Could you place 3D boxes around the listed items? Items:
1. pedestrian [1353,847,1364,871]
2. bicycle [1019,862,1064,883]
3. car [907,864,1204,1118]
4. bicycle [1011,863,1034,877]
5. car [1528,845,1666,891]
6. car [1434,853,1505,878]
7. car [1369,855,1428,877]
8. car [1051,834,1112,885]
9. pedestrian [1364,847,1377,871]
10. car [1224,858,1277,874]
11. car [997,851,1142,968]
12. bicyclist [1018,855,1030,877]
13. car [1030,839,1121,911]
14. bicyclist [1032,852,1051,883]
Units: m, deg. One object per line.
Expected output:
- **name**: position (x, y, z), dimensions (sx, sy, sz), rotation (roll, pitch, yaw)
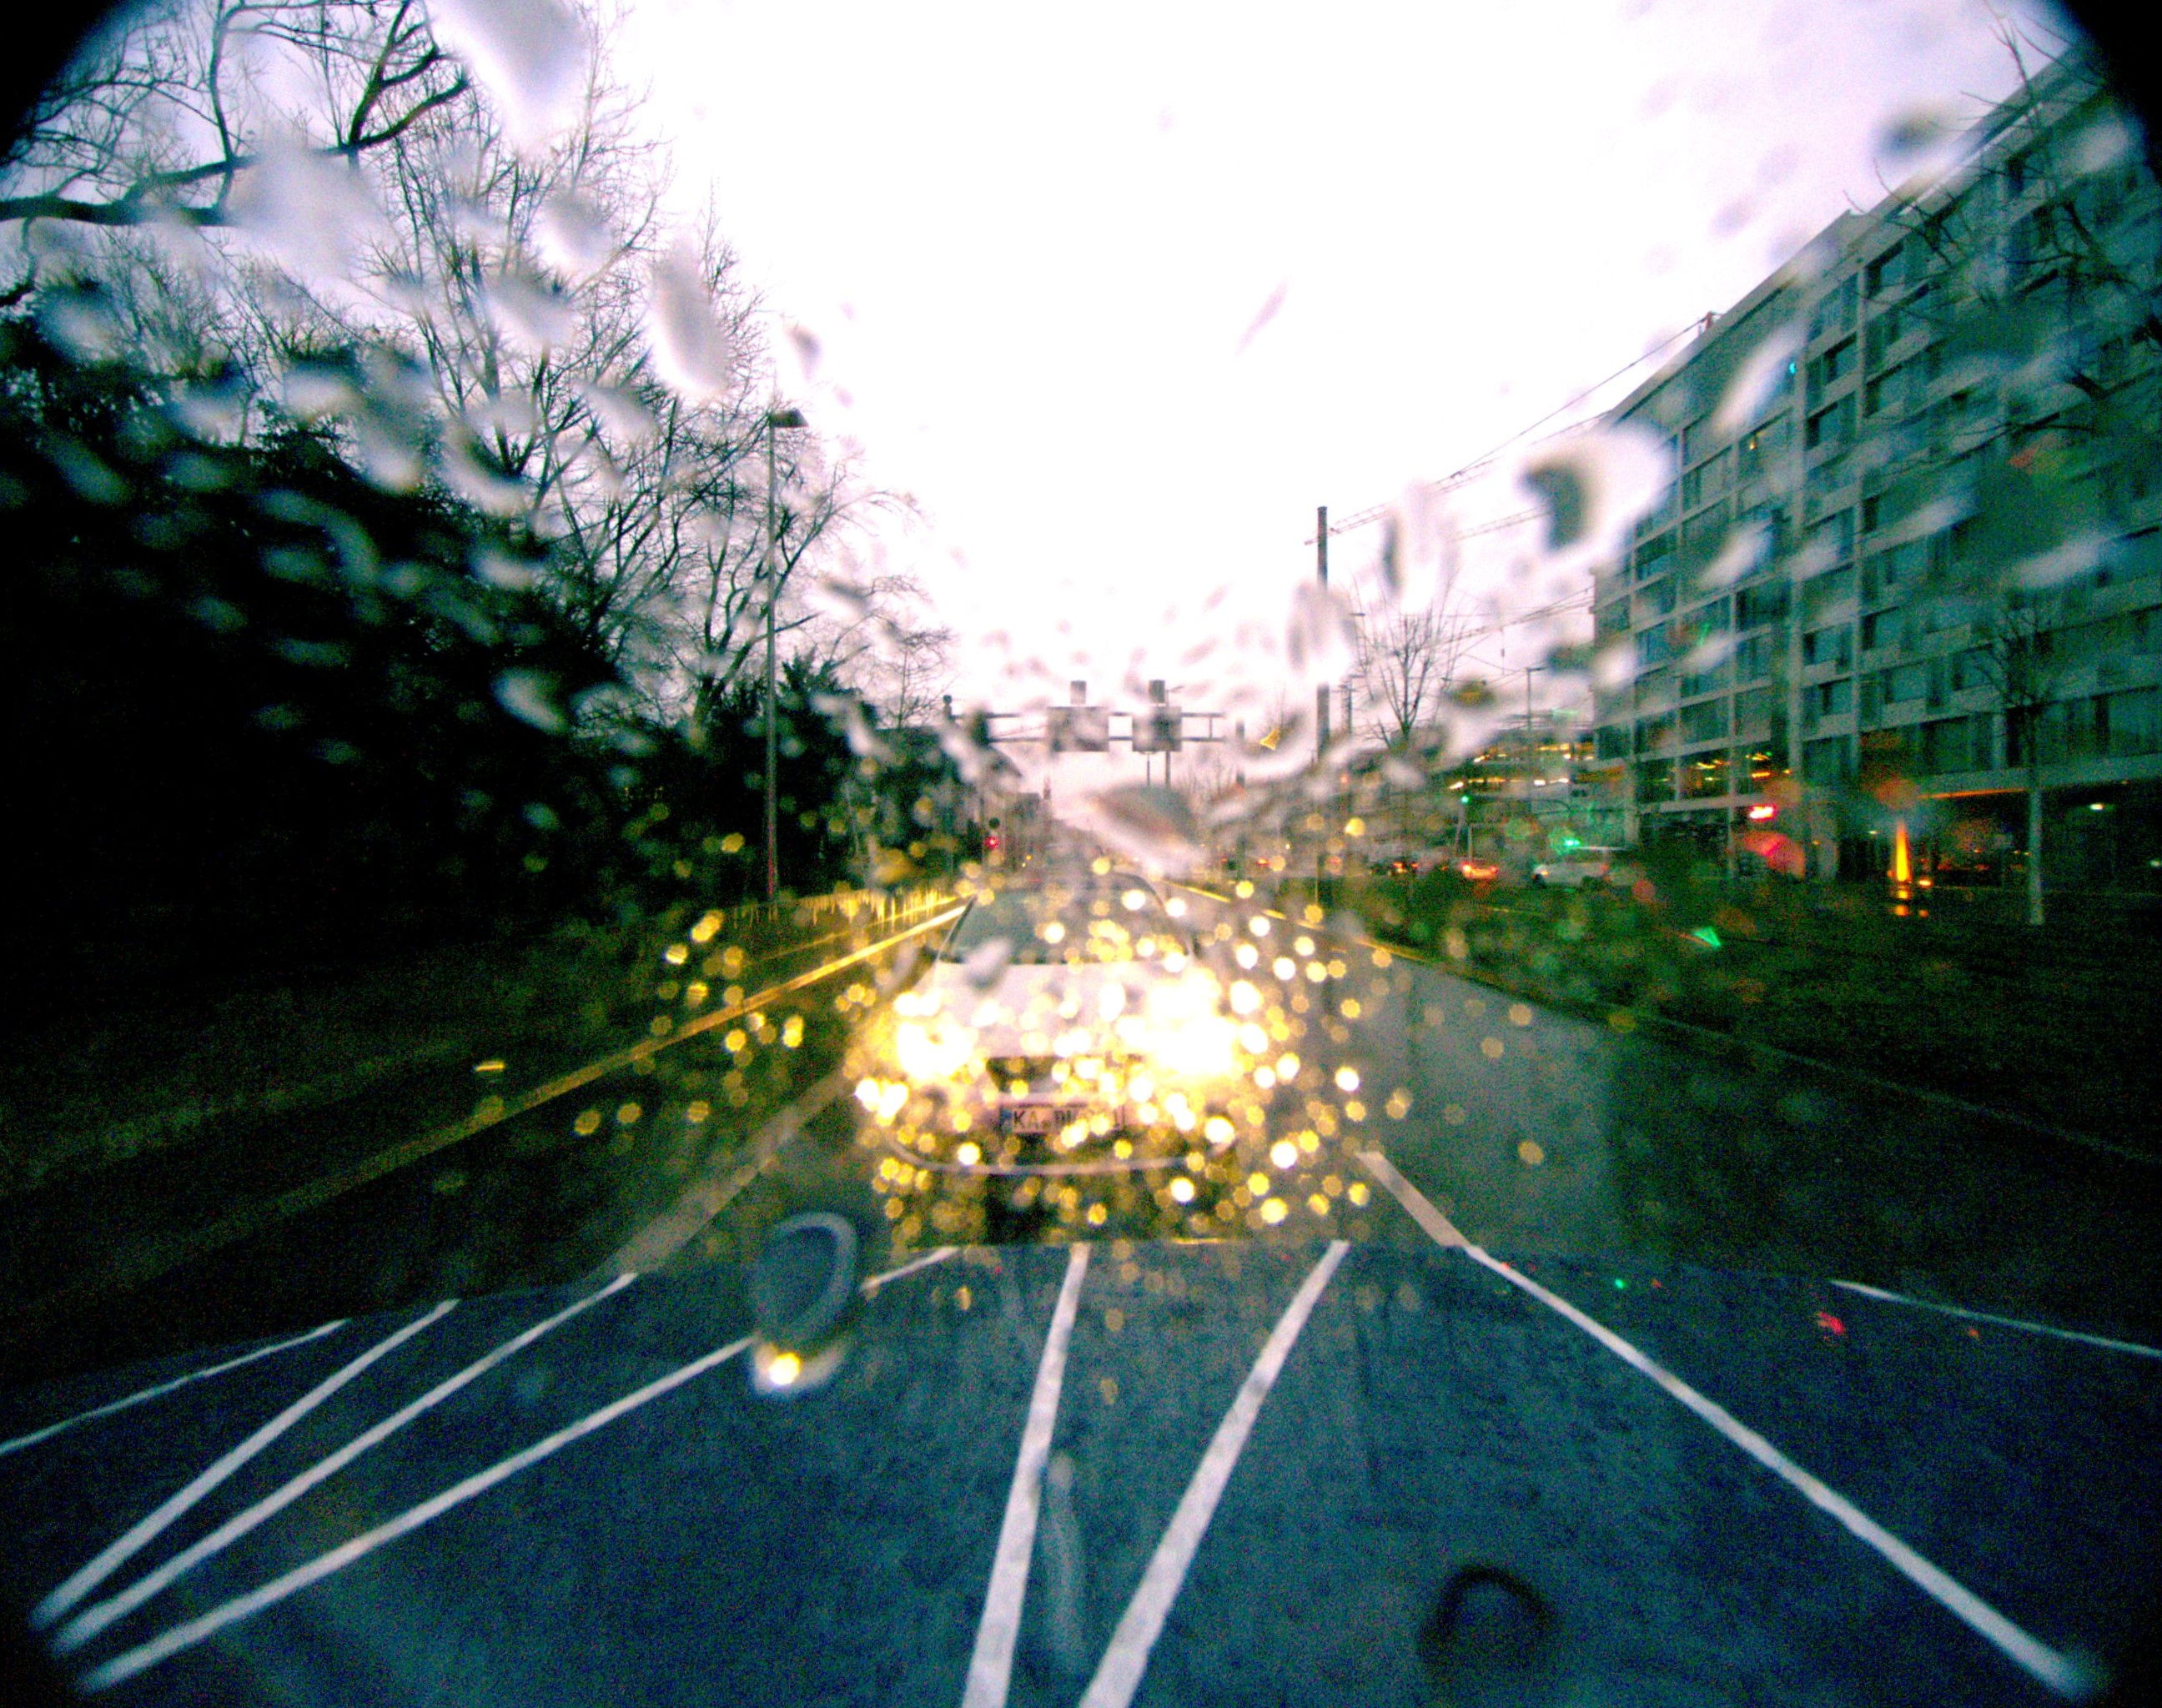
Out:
- **pedestrian**: position (21.019, 0.396, 57.540), dimensions (0.709, 1.794, 0.771), rotation (-2, 1, 16)
- **bicycle**: position (-2.952, 1.364, 56.132), dimensions (3.380, 1.442, 0.970), rotation (-2, 1, 33)
- **car**: position (-0.133, 0.902, 6.912), dimensions (1.886, 1.552, 4.171), rotation (0, 0, 1)
- **bicycle**: position (-4.504, 1.220, 58.587), dimensions (1.716, 1.036, 0.693), rotation (-2, 1, 37)
- **car**: position (20.167, 0.501, 30.039), dimensions (2.086, 1.659, 5.043), rotation (0, 0, 1)
- **car**: position (20.859, 0.589, 40.976), dimensions (1.816, 1.300, 4.000), rotation (0, 0, 1)
- **car**: position (20.978, 0.770, 50.451), dimensions (2.111, 1.392, 4.257), rotation (0, 0, -1)
- **car**: position (0.039, 0.169, 27.502), dimensions (1.998, 1.618, 4.268), rotation (-2, 0, 0)
- **pedestrian**: position (21.806, 0.384, 57.248), dimensions (0.709, 1.794, 0.770), rotation (-2, 1, 11)
- **car**: position (13.645, 0.941, 61.412), dimensions (3.995, 1.267, 1.818), rotation (0, 0, 6)
- **car**: position (-0.215, 0.803, 13.264), dimensions (2.073, 1.618, 4.267), rotation (-2, 1, -1)
- **bicyclist**: position (-4.398, 0.895, 58.492), dimensions (0.591, 1.675, 0.693), rotation (-1, 1, 38)
- **car**: position (-0.101, 0.478, 20.045), dimensions (2.073, 1.618, 4.268), rotation (-2, 1, 1)
- **bicyclist**: position (-2.942, 0.991, 56.123), dimensions (0.932, 2.210, 0.970), rotation (-1, 1, 33)
